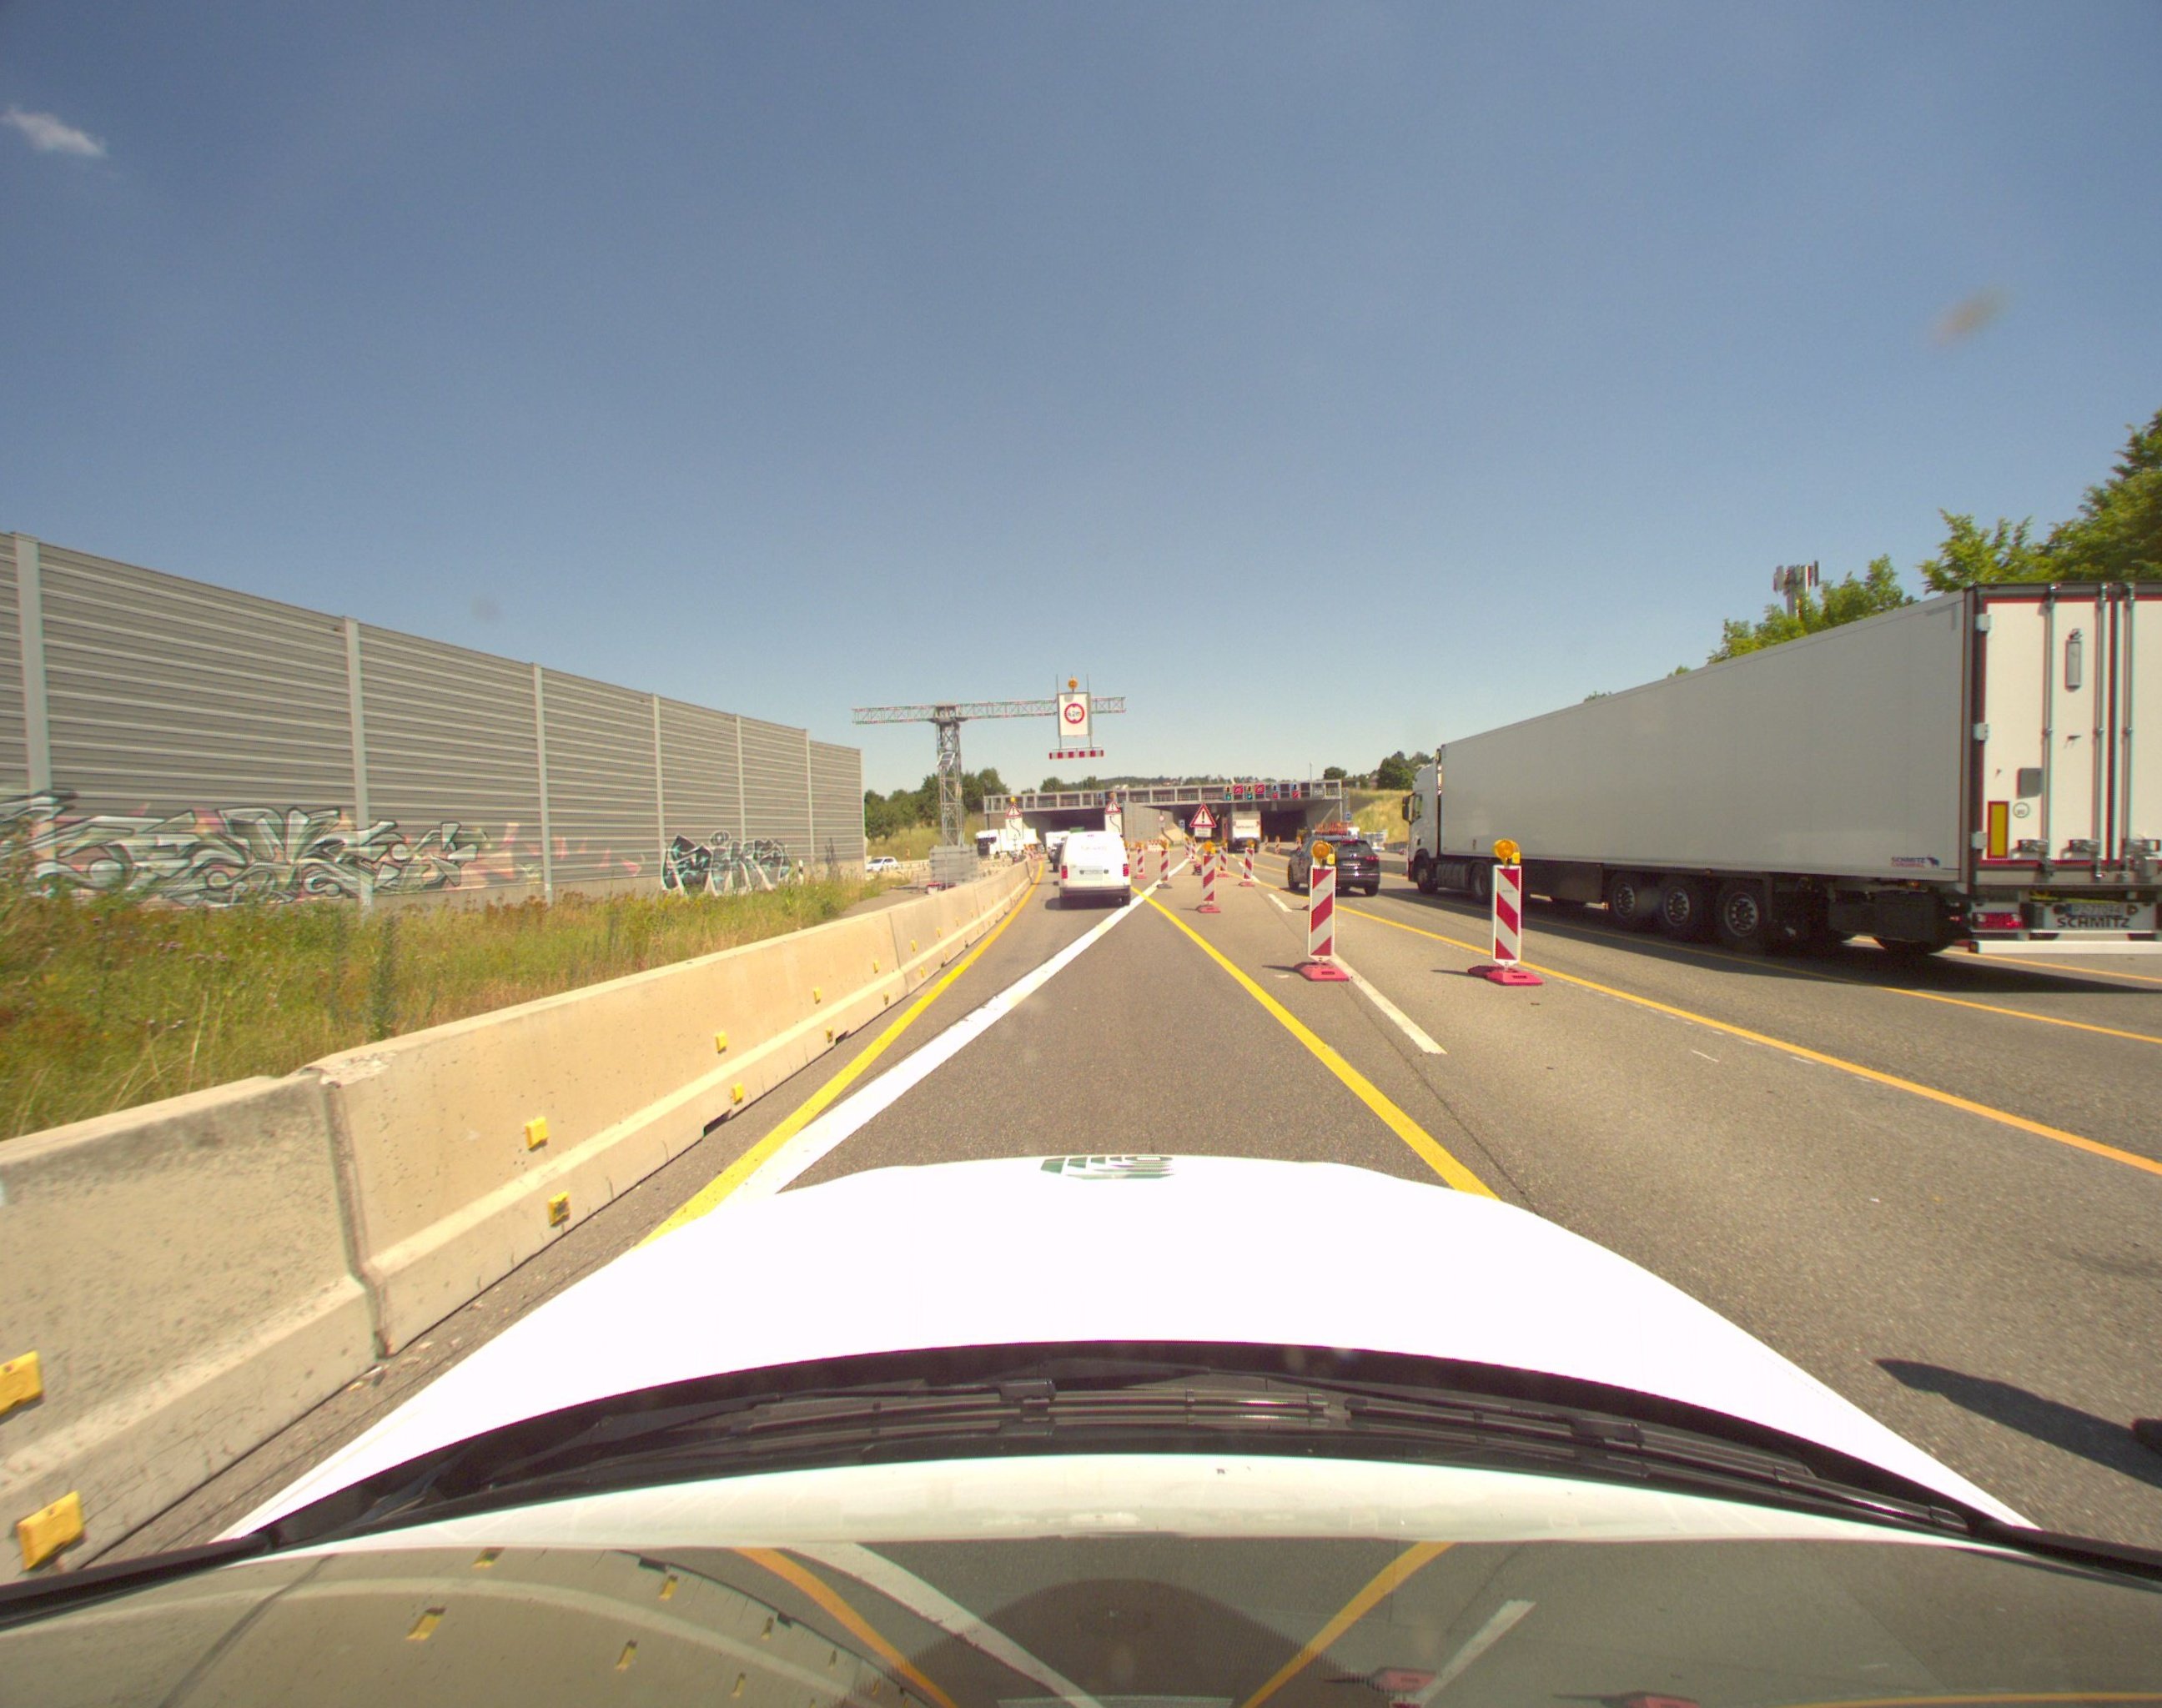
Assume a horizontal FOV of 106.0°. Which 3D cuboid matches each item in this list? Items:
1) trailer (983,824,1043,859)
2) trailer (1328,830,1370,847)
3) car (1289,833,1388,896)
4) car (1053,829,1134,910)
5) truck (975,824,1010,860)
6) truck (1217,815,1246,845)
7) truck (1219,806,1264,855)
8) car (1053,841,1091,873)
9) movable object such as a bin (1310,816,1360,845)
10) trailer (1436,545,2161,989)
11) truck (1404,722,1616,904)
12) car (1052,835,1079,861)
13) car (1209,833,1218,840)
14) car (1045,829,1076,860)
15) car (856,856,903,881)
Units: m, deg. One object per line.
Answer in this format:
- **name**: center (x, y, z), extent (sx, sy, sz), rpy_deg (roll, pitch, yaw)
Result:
- **trailer**: center (-9.129, -1.796, 113.111), extent (2.643, 4.499, 15.000), rpy_deg (-1, 1, 18)
- **trailer**: center (27.681, -1.611, 84.324), extent (2.583, 1.568, 6.242), rpy_deg (-4, 1, 4)
- **car**: center (7.282, 0.259, 23.472), extent (1.806, 1.629, 4.196), rpy_deg (-1, 1, 4)
- **car**: center (0.252, 0.340, 20.872), extent (1.804, 1.794, 3.729), rpy_deg (-3, 1, -2)
- **truck**: center (-11.469, -1.618, 105.849), extent (2.643, 4.499, 4.866), rpy_deg (-1, 1, 18)
- **truck**: center (22.021, -3.353, 120.069), extent (3.383, 4.071, 16.572), rpy_deg (-1, 1, 8)
- **truck**: center (15.860, -2.122, 81.542), extent (3.383, 4.335, 16.571), rpy_deg (-1, 0, 8)
- **car**: center (-0.533, 0.140, 44.735), extent (1.805, 1.537, 4.404), rpy_deg (-3, 1, -3)
- **movable object such as a bin**: center (30.592, -2.793, 98.715), extent (3.094, 3.010, 14.733), rpy_deg (-4, 1, 7)
- **trailer**: center (10.315, -0.887, 14.523), extent (2.720, 4.061, 14.111), rpy_deg (-1, 1, 4)
- **truck**: center (10.790, -0.956, 21.237), extent (2.732, 4.033, 5.934), rpy_deg (-1, 1, 4)
- **car**: center (-1.213, -0.449, 60.850), extent (1.804, 1.815, 4.405), rpy_deg (-3, 1, -3)
- **car**: center (31.618, -4.264, 194.455), extent (1.805, 1.629, 4.199), rpy_deg (-1, 1, 7)
- **car**: center (-2.003, -0.853, 78.512), extent (2.806, 2.773, 7.096), rpy_deg (-1, 0, -2)
- **car**: center (-16.808, 1.198, 68.150), extent (1.978, 2.013, 4.018), rpy_deg (-1, 0, 17)
